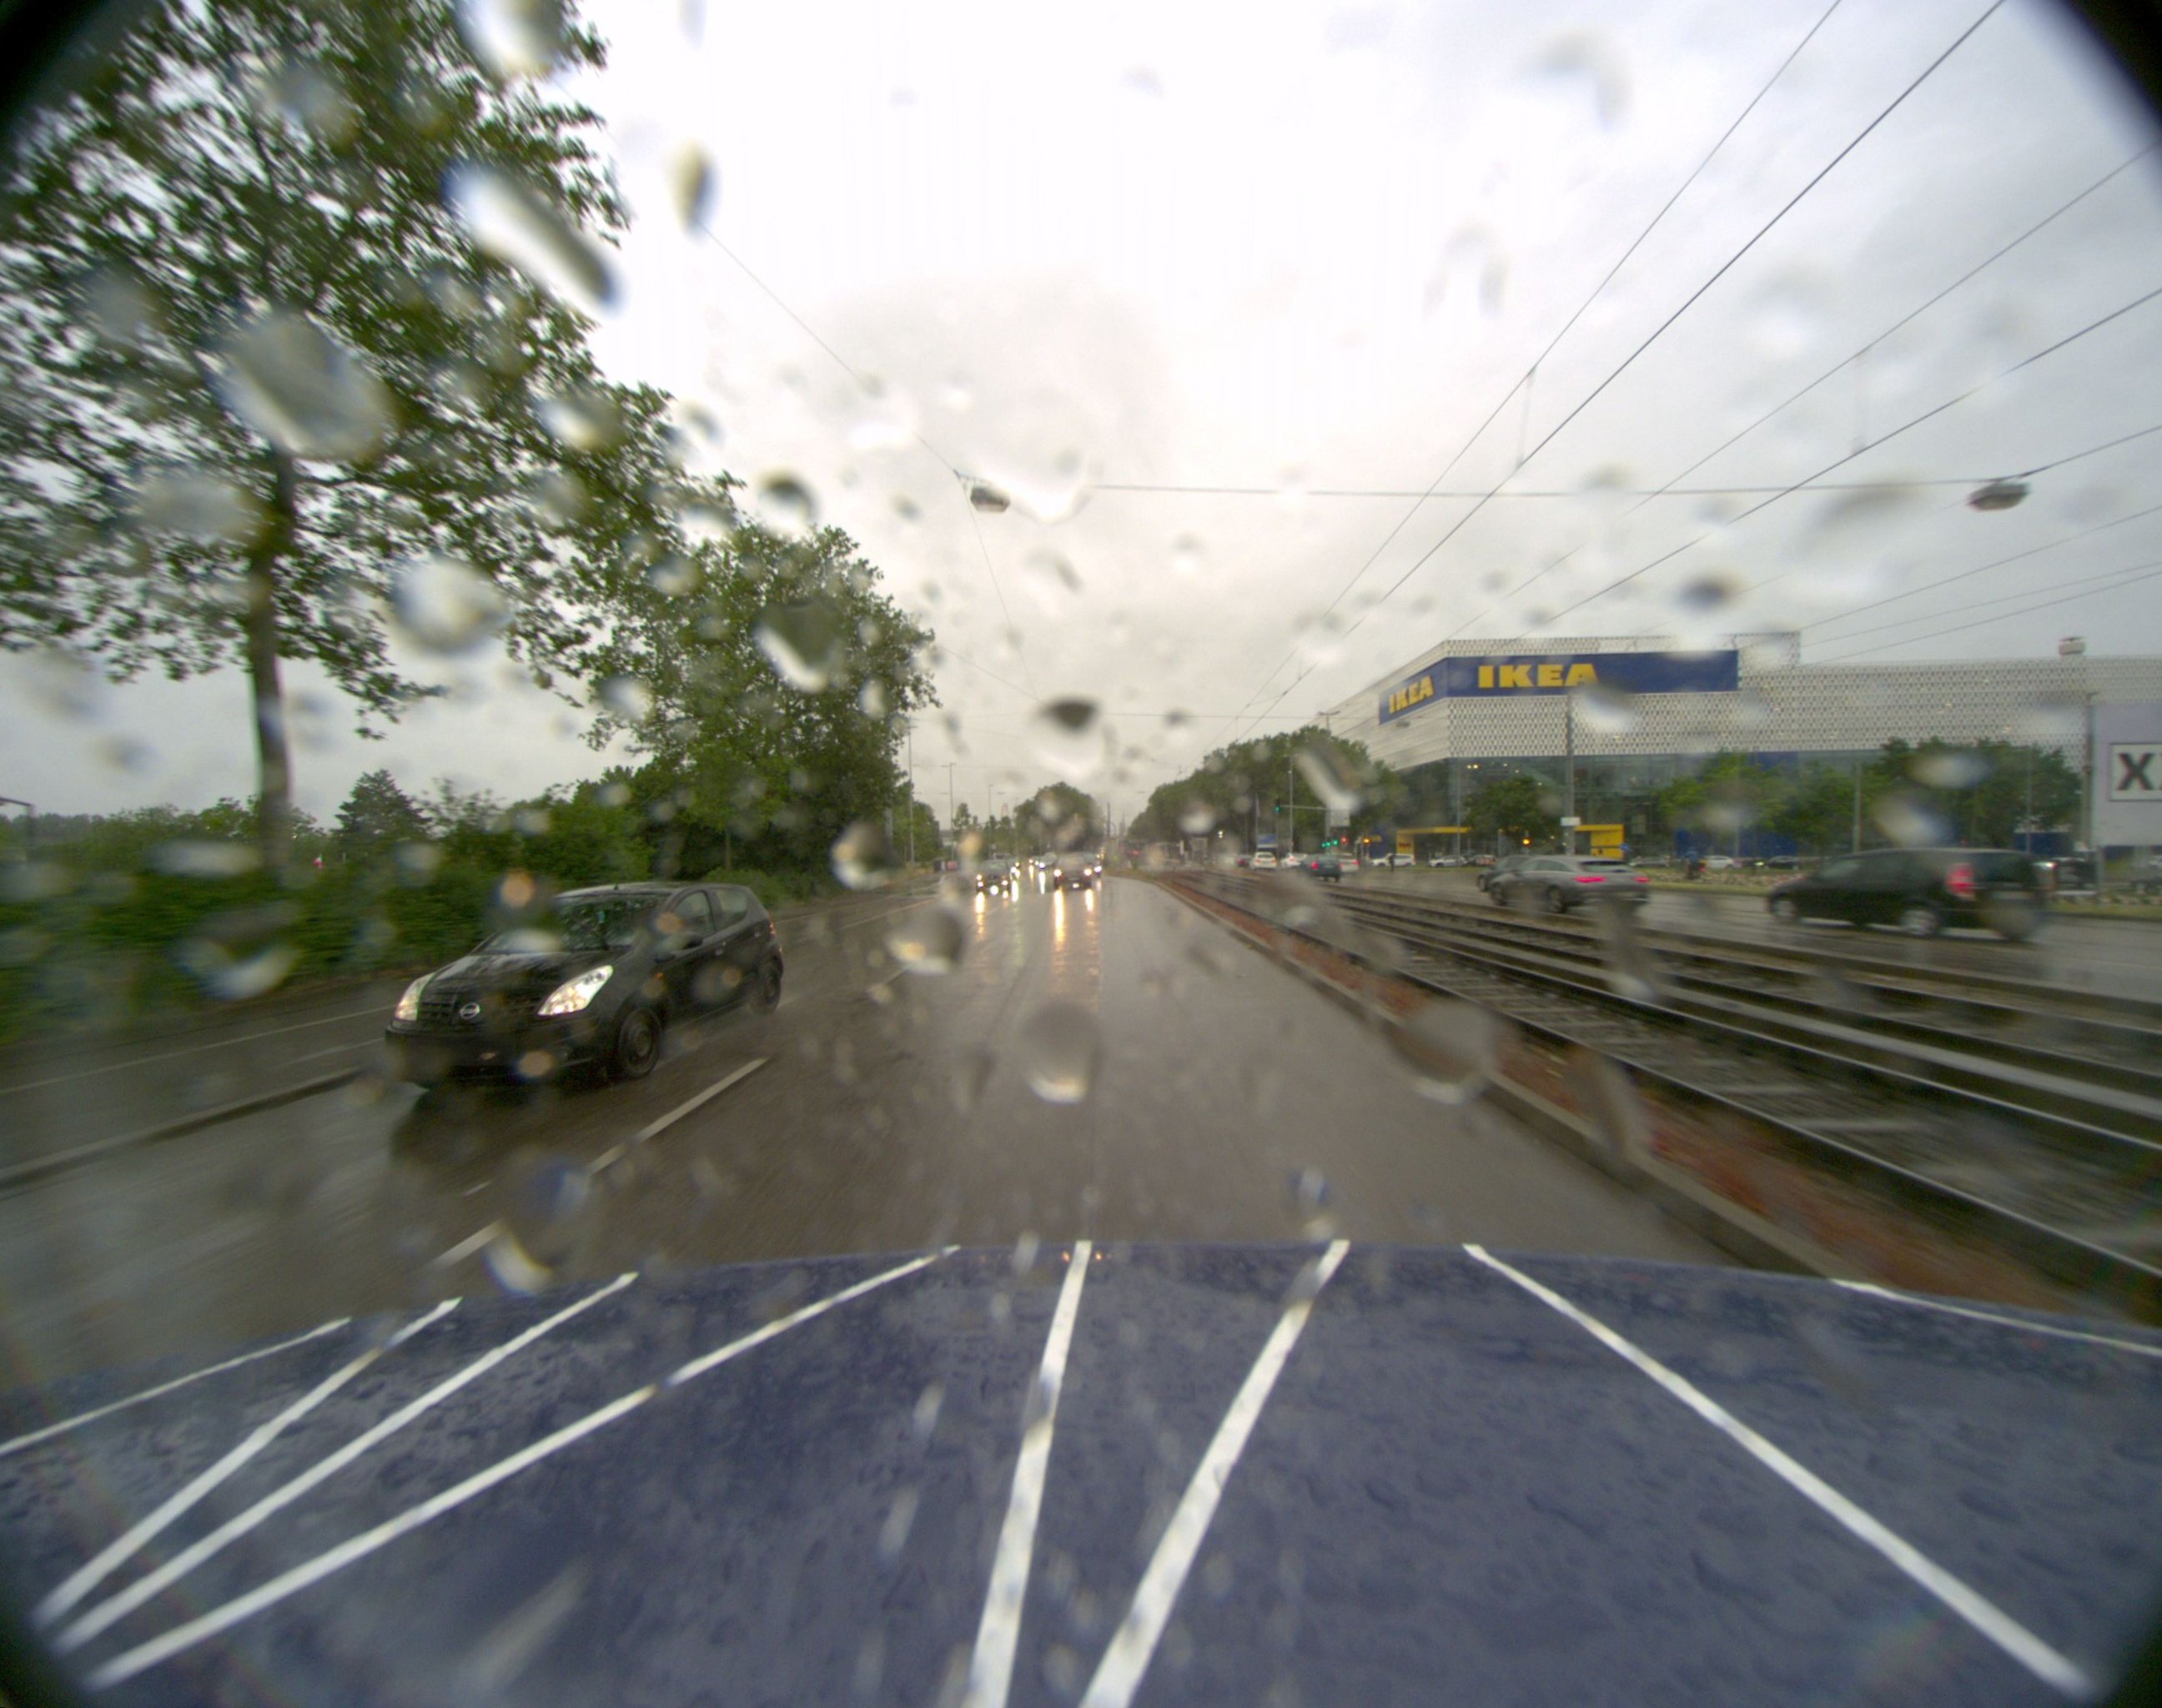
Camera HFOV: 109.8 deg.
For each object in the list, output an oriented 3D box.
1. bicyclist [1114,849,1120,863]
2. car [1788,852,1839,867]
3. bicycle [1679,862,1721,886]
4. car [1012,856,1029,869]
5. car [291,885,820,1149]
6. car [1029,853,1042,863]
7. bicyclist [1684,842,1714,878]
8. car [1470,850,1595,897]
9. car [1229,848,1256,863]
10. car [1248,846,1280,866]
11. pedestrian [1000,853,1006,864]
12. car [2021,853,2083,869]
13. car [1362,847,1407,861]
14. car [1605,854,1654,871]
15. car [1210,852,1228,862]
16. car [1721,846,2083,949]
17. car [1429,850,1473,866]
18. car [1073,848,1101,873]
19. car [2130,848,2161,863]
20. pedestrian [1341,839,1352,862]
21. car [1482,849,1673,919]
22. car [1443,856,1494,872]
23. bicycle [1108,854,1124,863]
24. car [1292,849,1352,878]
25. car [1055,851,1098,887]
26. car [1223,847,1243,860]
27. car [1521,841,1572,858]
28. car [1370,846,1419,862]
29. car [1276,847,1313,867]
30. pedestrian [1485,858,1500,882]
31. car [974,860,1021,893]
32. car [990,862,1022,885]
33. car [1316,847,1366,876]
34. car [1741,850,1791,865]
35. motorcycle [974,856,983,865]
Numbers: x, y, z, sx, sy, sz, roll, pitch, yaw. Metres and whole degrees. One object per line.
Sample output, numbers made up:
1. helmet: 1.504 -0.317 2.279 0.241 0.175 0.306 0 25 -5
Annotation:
1. bicyclist: 4.306 0.252 91.644 0.618 1.721 0.793 -3 0 -1
2. car: 78.977 0.597 81.938 3.821 1.399 1.602 -3 1 4
3. bicycle: 28.278 0.910 34.748 0.670 1.010 1.556 -3 1 2
4. car: -7.577 1.059 95.325 1.715 1.515 4.178 -3 -1 2
5. car: -4.007 1.108 6.816 1.776 1.453 4.093 -3 -1 1
6. car: -7.362 0.671 122.681 1.715 1.515 4.178 -3 -1 2
7. bicyclist: 28.235 0.274 34.720 0.673 1.580 0.792 -3 1 2
8. car: 16.329 0.641 27.798 1.968 1.508 4.554 1 1 2
9. car: 16.501 0.210 77.920 1.927 1.415 5.085 2 0 3
10. car: 15.456 0.177 64.270 1.877 1.564 4.329 -3 -1 4
11. pedestrian: -10.807 0.628 105.700 0.734 1.602 0.618 -1 2 1
12. car: 103.799 0.738 81.221 4.162 1.399 1.710 -3 1 4
13. car: 34.126 0.020 85.515 4.284 1.532 1.820 -1 0 4
14. car: 60.176 0.892 83.367 4.010 1.664 1.682 -3 1 4
15. car: 18.740 0.408 103.281 1.716 1.242 4.463 -3 -1 3
16. car: 15.395 0.680 14.806 1.862 1.608 4.908 1 1 4
17. car: 41.212 0.434 84.643 4.014 1.609 1.760 -3 1 4
18. car: 0.423 0.420 49.275 1.715 1.515 4.044 -3 -1 2
19. car: 113.635 0.139 80.000 3.821 1.399 1.602 -3 1 4
20. pedestrian: 27.684 -0.386 79.265 0.920 2.232 0.990 -3 3 15
21. car: 12.245 0.648 19.200 1.862 1.485 4.689 0 1 2
22. car: 41.280 1.064 80.993 4.377 1.532 1.820 -3 0 4
23. bicycle: 4.208 0.551 91.711 1.870 1.002 0.670 -3 0 0
24. car: 13.450 0.493 42.692 1.998 1.448 4.671 1 1 2
25. car: -0.189 0.712 37.163 1.876 1.573 4.043 -3 -1 1
26. car: 18.081 -0.043 90.416 1.716 1.526 4.049 -3 -1 4
27. car: 49.275 -0.501 80.425 4.106 1.594 2.000 -3 1 3
28. car: 33.660 0.017 81.562 4.459 1.532 1.820 -2 0 4
29. car: 19.032 0.285 67.950 1.912 1.597 4.842 -4 0 1
30. pedestrian: 32.372 1.259 59.759 0.715 1.808 0.768 -3 2 -5
31. car: -4.079 1.100 37.798 1.715 1.476 4.044 -3 -1 2
32. car: -5.341 1.381 54.778 1.715 1.515 4.044 -3 -1 2
33. car: 17.893 0.476 52.509 1.998 1.823 4.693 -1 1 3
34. car: 73.998 0.376 82.165 3.821 1.399 1.602 -3 1 4
35. motorcycle: -13.056 0.834 96.601 0.633 1.211 1.449 0 0 13
